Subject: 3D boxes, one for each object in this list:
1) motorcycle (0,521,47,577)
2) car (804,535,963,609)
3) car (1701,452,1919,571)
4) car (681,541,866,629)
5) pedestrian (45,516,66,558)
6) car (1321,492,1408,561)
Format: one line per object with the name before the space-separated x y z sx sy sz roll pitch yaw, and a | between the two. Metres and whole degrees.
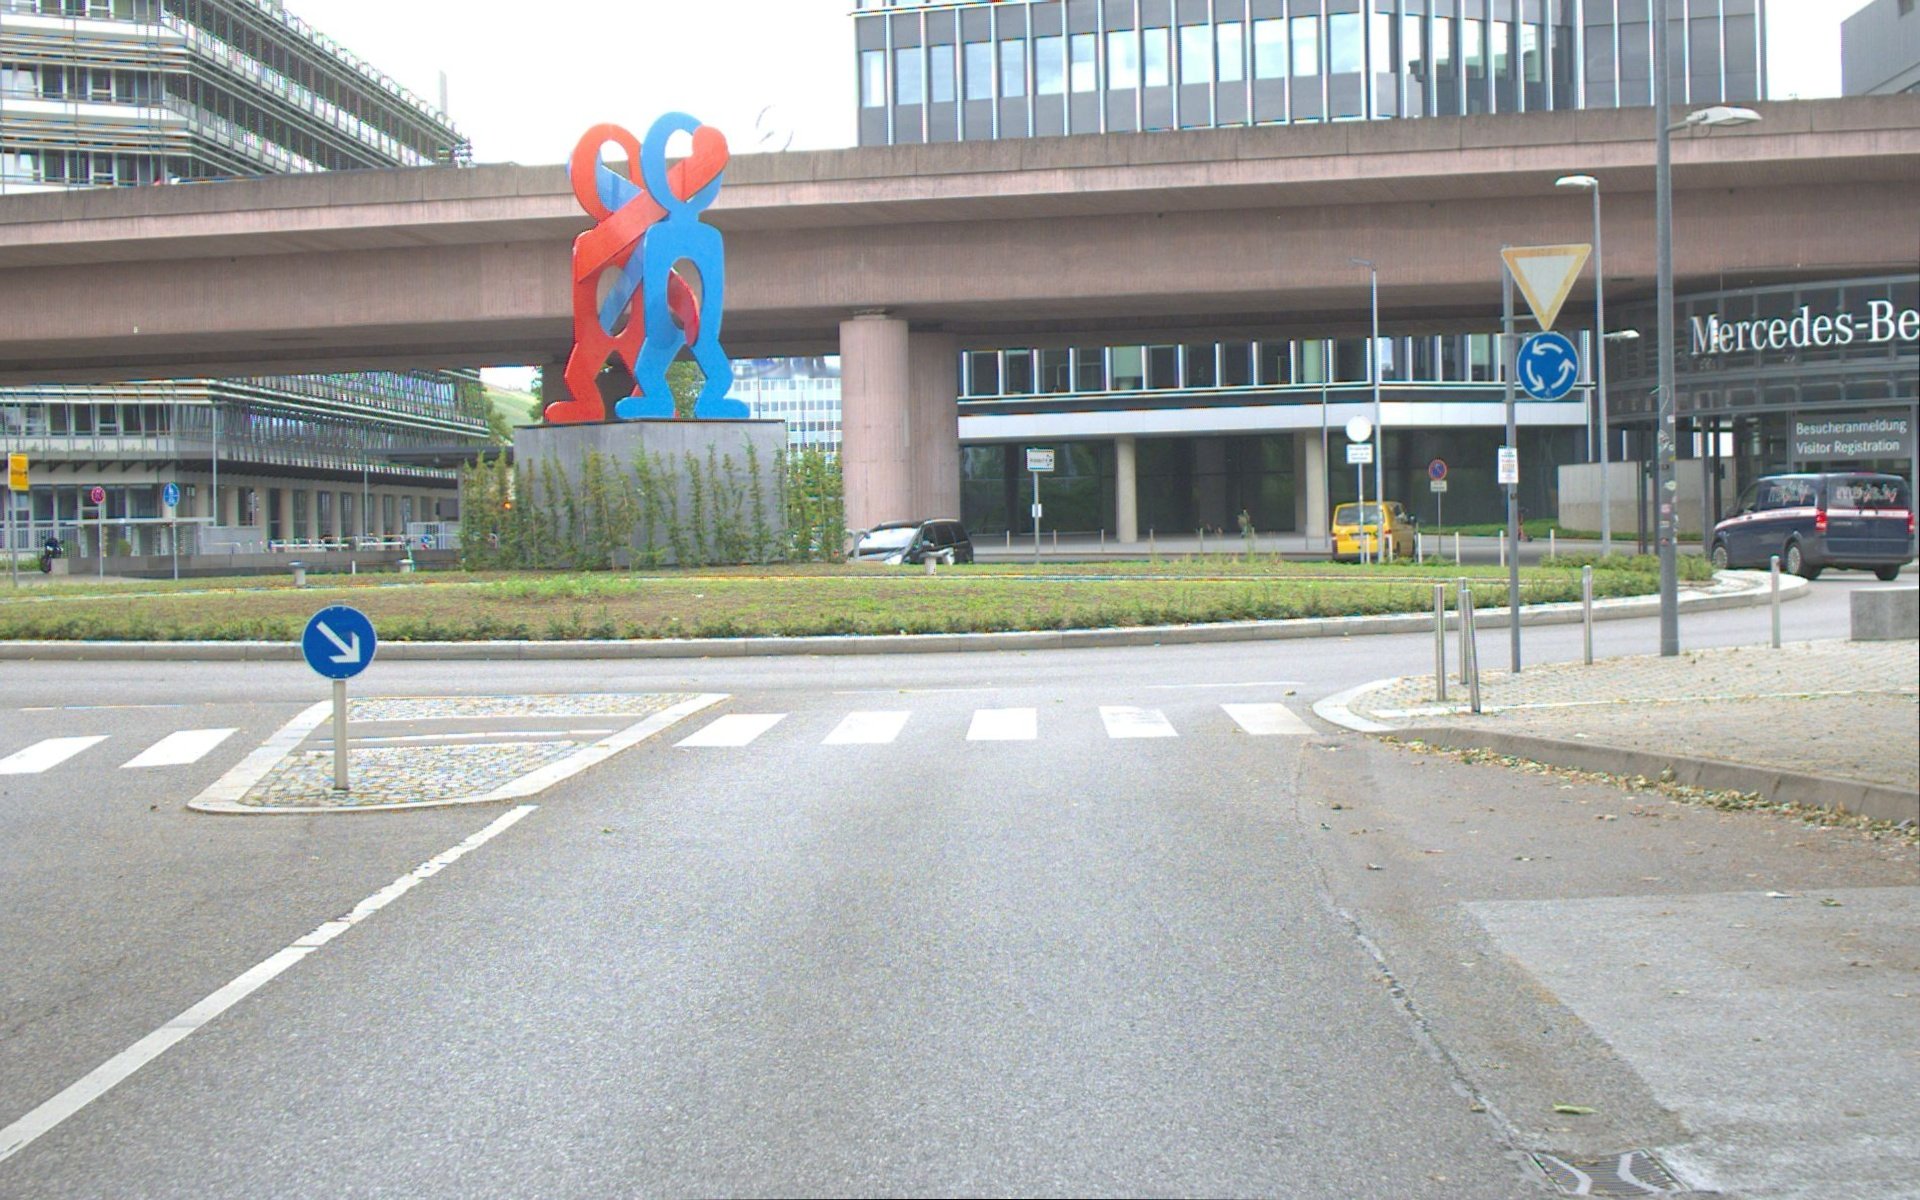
motorcycle | -21.417 -1.151 77.961 0.669 1.247 1.884 0 1 8
car | -1.839 -0.698 83.555 1.997 1.766 3.993 0 1 32
car | 15.129 -1.545 60.830 2.275 2.007 4.785 0 1 -10
car | -4.184 -0.345 77.184 3.724 1.919 1.920 0 1 16
pedestrian | -43.580 -3.048 165.679 0.776 2.007 0.671 -1 1 -2
car | 12.035 -2.165 102.080 1.995 2.007 3.997 0 1 15
